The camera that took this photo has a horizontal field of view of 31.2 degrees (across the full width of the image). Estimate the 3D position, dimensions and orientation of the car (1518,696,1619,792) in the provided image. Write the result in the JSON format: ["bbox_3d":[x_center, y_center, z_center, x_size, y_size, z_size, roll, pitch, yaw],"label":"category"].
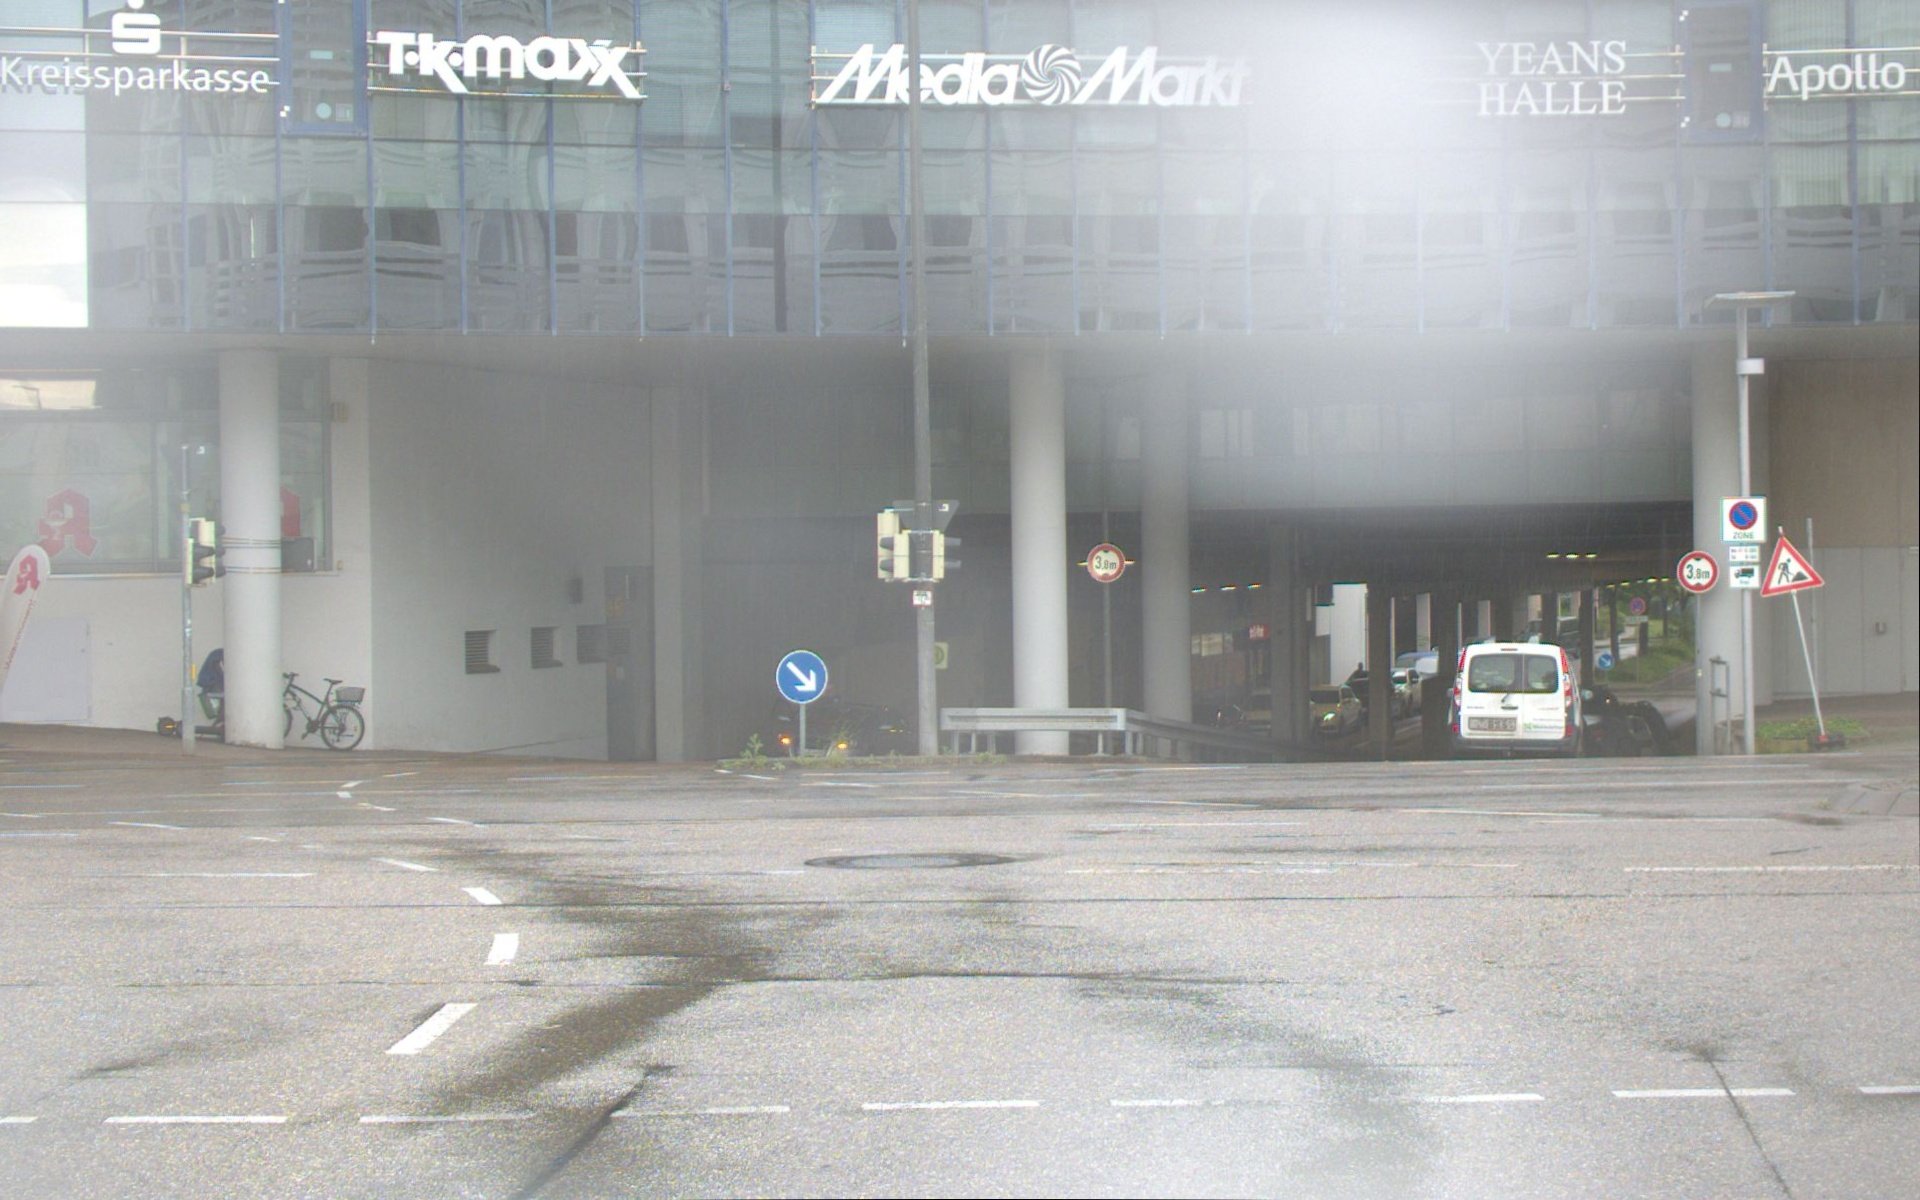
[{"bbox_3d":[10.821,2.565,60.970,1.633,1.606,4.260,-2,-3,11],"label":"car"}]

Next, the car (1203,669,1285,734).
[{"bbox_3d":[7.959,2.822,96.184,1.837,1.722,3.998,-1,0,11],"label":"car"}]

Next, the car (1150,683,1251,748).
[{"bbox_3d":[6.409,3.063,91.388,1.916,1.582,3.936,-1,0,15],"label":"car"}]

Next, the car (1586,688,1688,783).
[{"bbox_3d":[13.901,2.752,70.477,1.792,1.764,3.997,-1,0,14],"label":"car"}]

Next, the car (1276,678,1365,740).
[{"bbox_3d":[10.709,3.215,101.970,1.995,1.658,3.997,1,0,15],"label":"car"}]

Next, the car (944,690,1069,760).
[{"bbox_3d":[1.031,2.710,74.532,1.772,1.459,3.872,-1,-2,15],"label":"car"}]

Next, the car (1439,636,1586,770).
[{"bbox_3d":[7.875,1.440,48.723,1.926,1.791,4.294,-1,-1,10],"label":"car"}]

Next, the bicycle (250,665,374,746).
[{"bbox_3d":[-9.195,1.501,48.820,1.581,1.014,0.452,6,-2,-30],"label":"bicycle"}]

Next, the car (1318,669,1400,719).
[{"bbox_3d":[12.740,2.981,109.604,1.995,1.459,3.997,-1,0,15],"label":"car"}]

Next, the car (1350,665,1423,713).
[{"bbox_3d":[14.243,2.965,114.685,1.994,1.459,3.998,-1,0,13],"label":"car"}]

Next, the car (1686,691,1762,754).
[{"bbox_3d":[20.244,3.226,90.982,1.889,1.486,3.838,1,0,13],"label":"car"}]

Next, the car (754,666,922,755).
[{"bbox_3d":[-2.189,2.042,62.827,1.894,1.465,4.023,-1,-4,16],"label":"car"}]

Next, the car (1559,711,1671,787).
[{"bbox_3d":[12.616,2.869,66.049,1.781,1.396,3.996,-1,-3,15],"label":"car"}]

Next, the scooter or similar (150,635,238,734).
[{"bbox_3d":[-10.763,1.187,48.323,1.166,1.368,0.489,1,0,-15],"label":"scooter or similar"}]
